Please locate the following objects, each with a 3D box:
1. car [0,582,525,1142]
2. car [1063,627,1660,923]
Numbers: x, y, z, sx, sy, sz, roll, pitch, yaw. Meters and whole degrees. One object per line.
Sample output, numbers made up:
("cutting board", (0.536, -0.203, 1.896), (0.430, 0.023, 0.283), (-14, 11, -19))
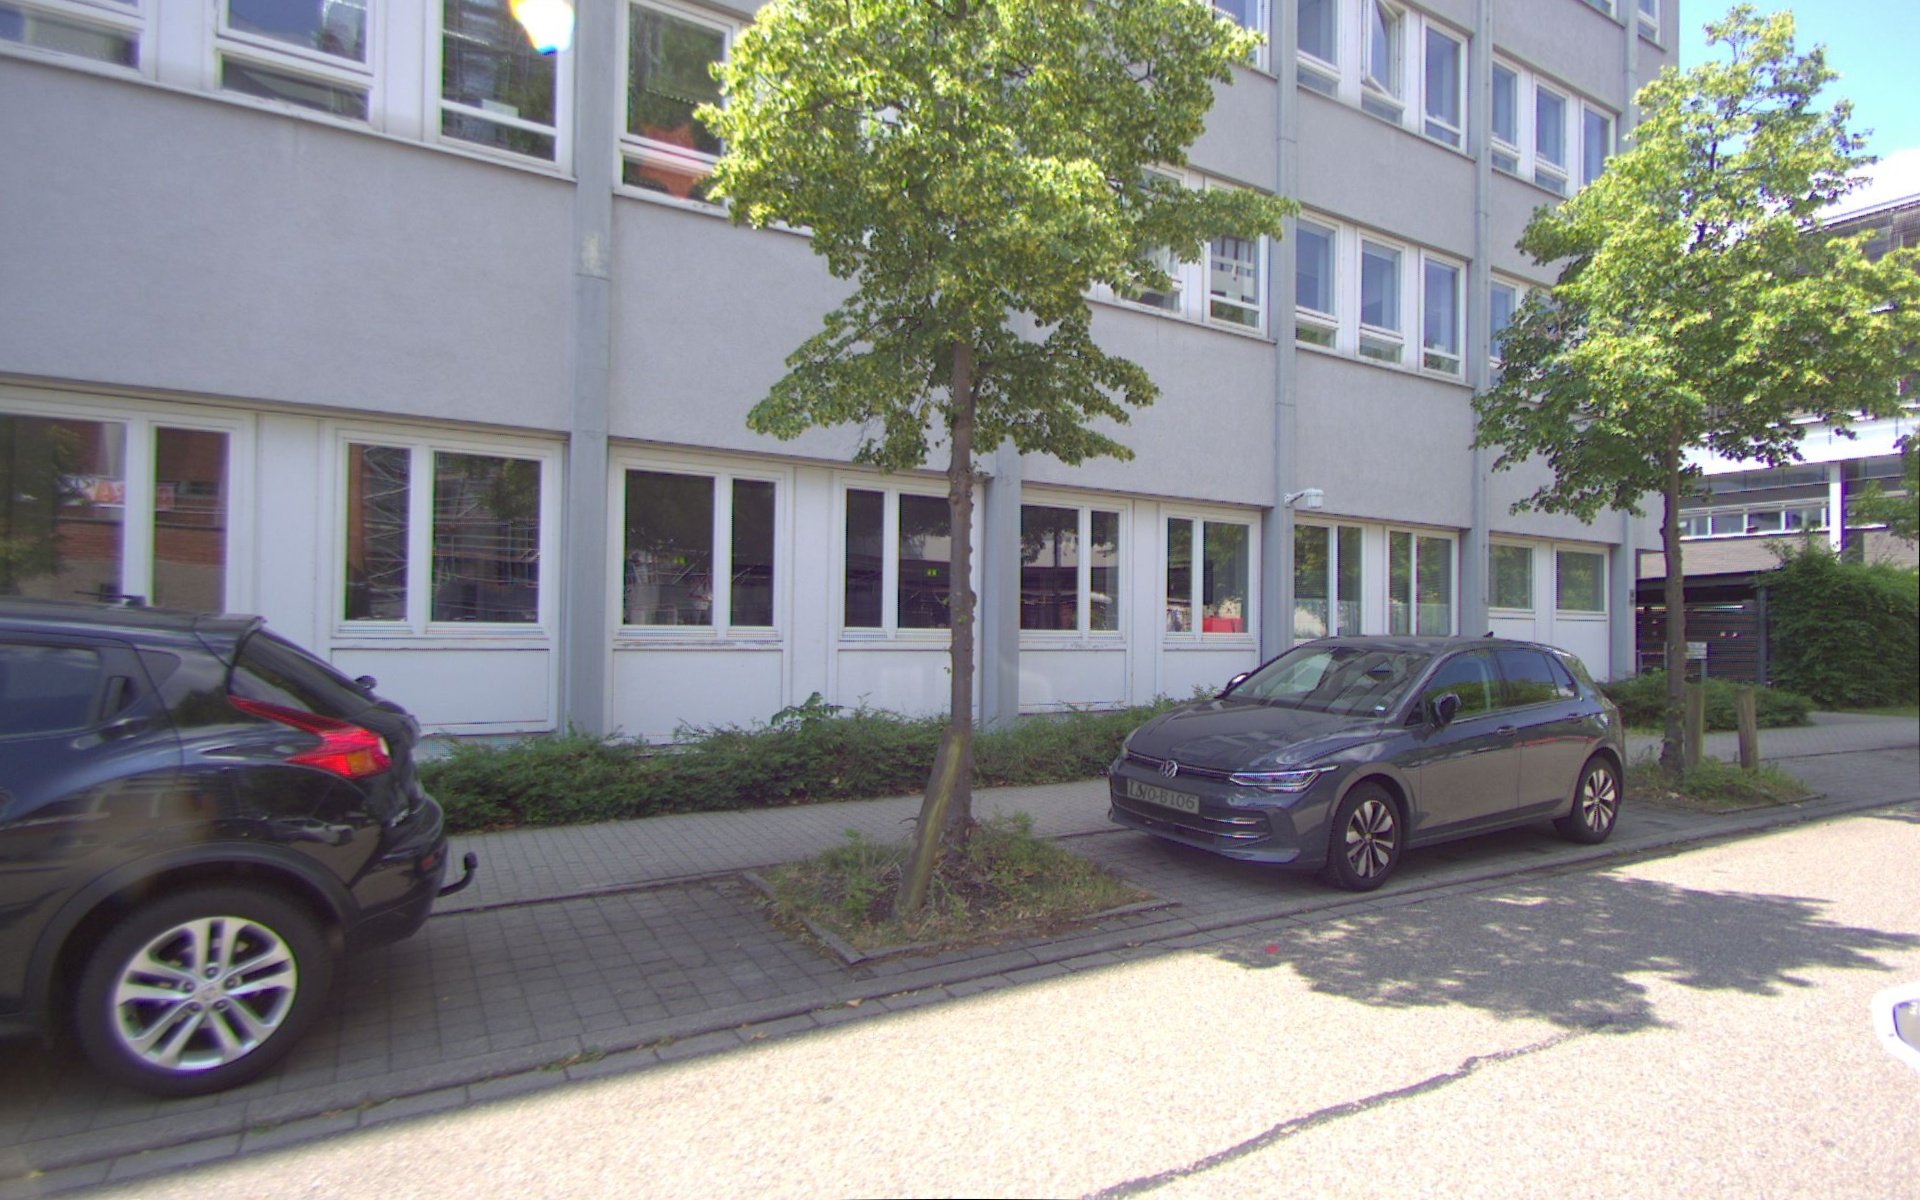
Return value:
("car", (-3.703, 0.745, 3.226), (4.023, 1.584, 1.688), (2, -2, -32))
("car", (2.932, 0.968, 7.053), (4.212, 1.480, 1.768), (2, -1, -32))
